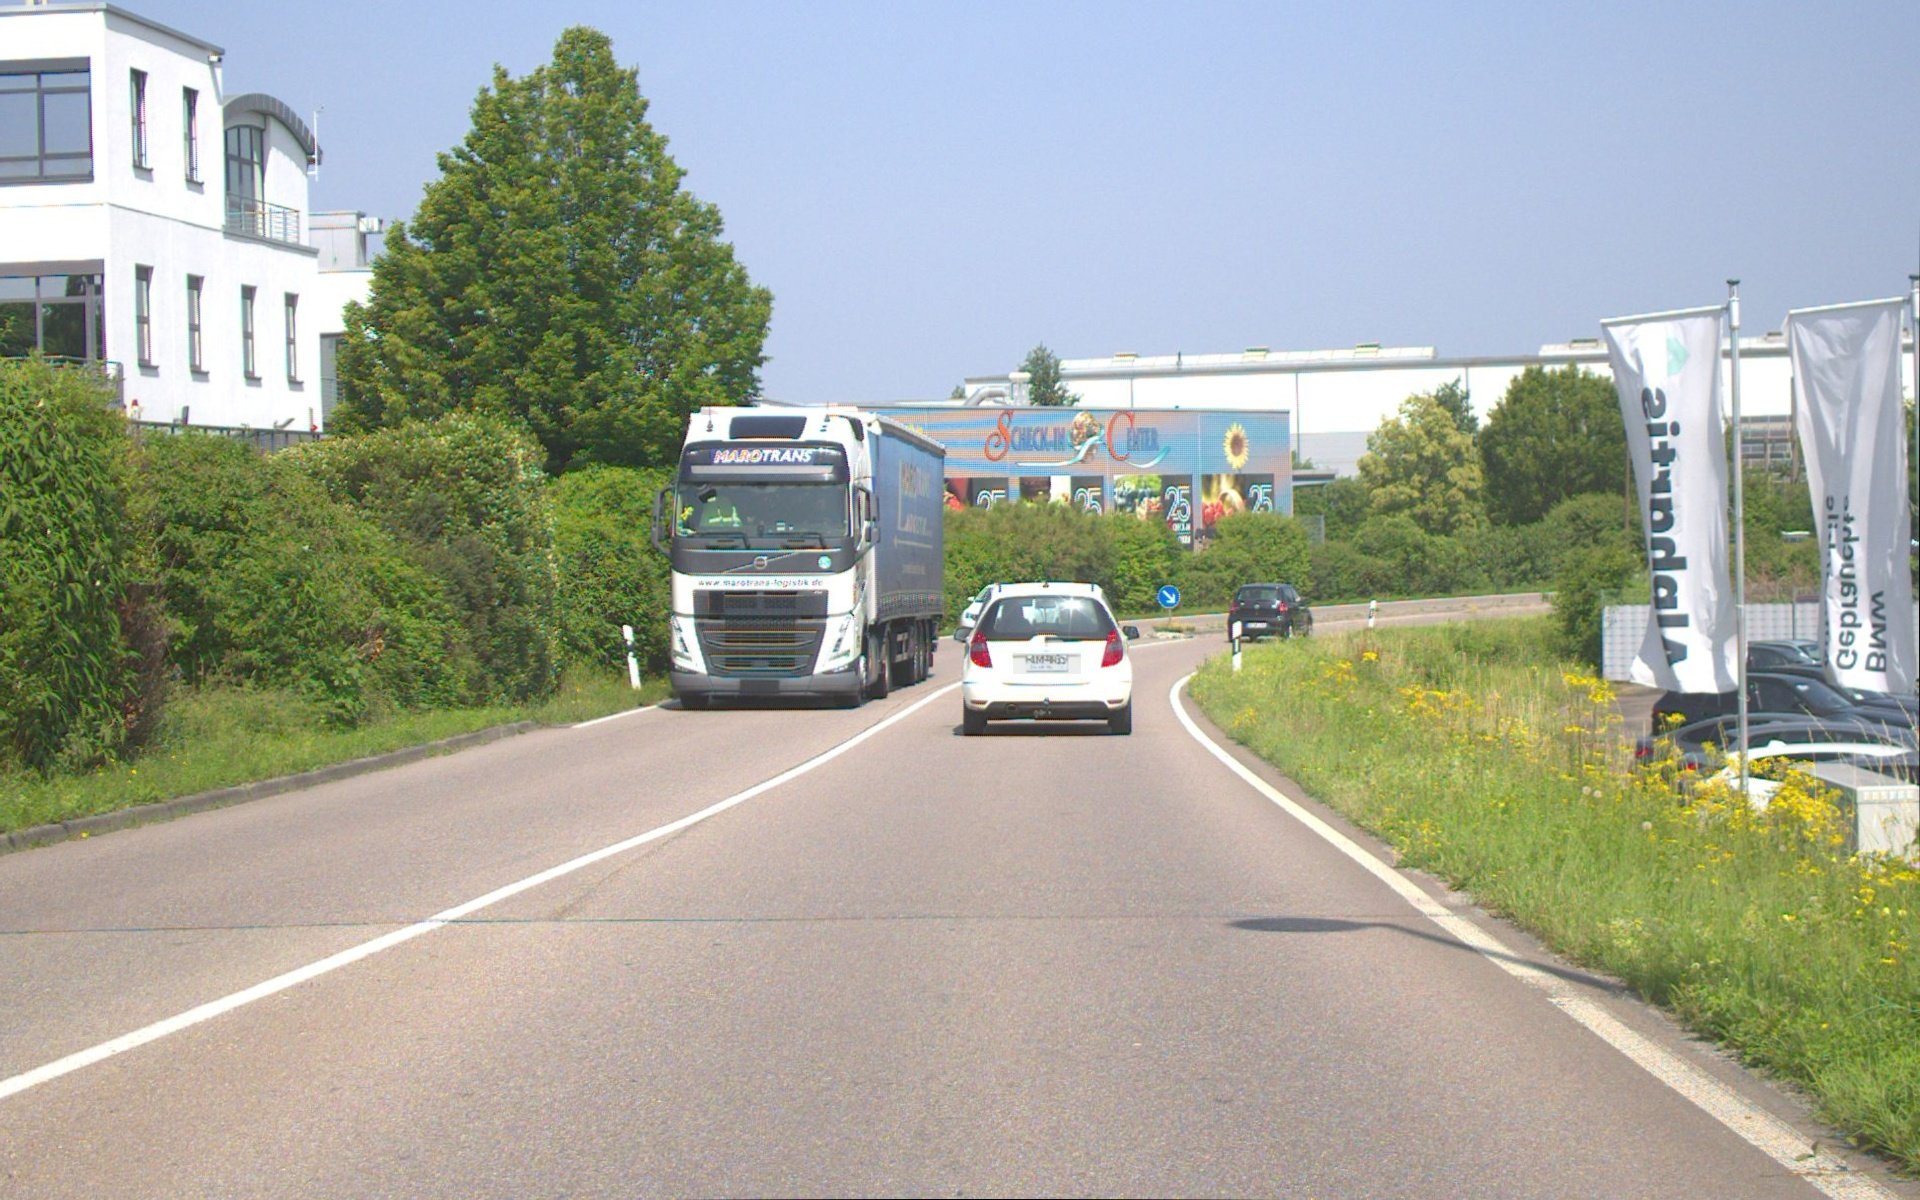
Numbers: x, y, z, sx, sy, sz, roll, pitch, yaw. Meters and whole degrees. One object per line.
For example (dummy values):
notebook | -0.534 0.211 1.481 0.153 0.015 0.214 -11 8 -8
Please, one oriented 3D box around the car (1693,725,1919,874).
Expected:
car | 10.572 2.247 38.791 4.166 1.518 1.748 0 0 31

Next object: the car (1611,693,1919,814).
car | 11.478 2.131 48.386 4.166 1.518 1.853 0 0 31

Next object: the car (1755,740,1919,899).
car | 10.532 2.292 35.561 4.167 1.518 1.687 0 0 35

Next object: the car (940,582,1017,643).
car | 0.474 0.299 84.683 1.829 1.465 4.410 0 0 1

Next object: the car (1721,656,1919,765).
car | 15.736 1.918 60.337 4.231 1.695 1.915 0 3 39

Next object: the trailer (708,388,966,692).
trailer | -1.703 -0.868 55.110 2.670 4.227 14.564 0 0 4

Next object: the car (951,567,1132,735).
car | 0.877 0.499 36.781 1.781 1.598 3.893 2 1 2

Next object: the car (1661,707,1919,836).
car | 11.511 2.223 45.076 4.166 1.518 1.853 0 0 31

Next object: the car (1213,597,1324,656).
car | 8.011 0.666 88.943 1.830 1.465 4.406 0 0 19

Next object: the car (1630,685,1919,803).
car | 13.653 2.347 56.974 4.638 1.695 1.853 0 3 36

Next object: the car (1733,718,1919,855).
car | 11.669 2.254 41.569 4.165 1.518 1.853 0 0 30

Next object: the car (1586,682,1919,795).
car | 11.940 2.047 51.655 4.637 1.518 1.853 0 0 34

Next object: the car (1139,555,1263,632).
car | 6.468 -0.180 91.971 1.996 2.007 3.994 0 0 26

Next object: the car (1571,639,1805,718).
car | 15.824 1.688 74.785 4.636 1.599 1.853 0 1 31

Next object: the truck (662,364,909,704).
truck | -2.257 -0.841 46.646 2.513 4.243 6.112 -2 0 4
